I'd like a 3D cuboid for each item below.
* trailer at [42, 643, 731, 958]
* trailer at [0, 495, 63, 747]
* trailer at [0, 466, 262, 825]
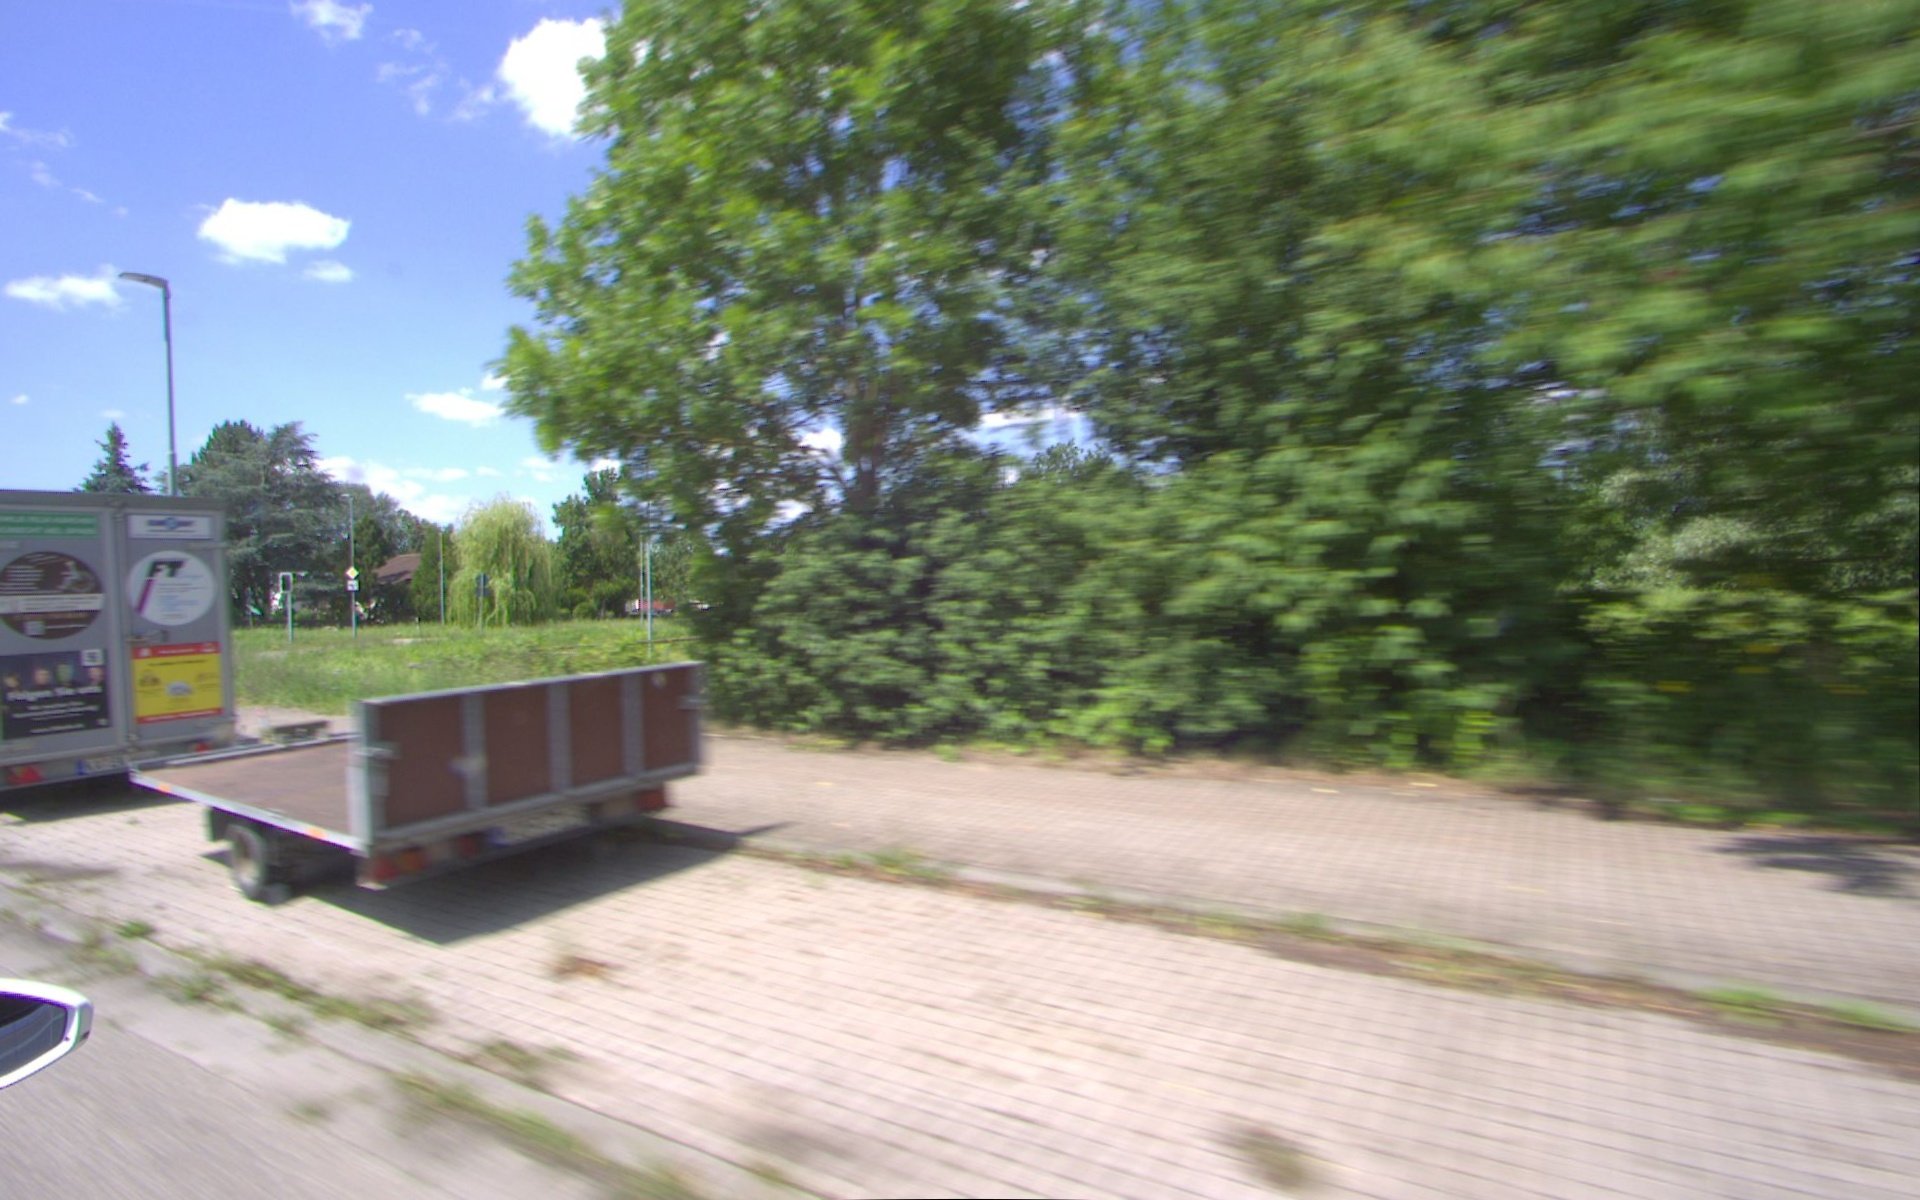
[{"bbox_3d":[-3.734,0.929,6.270,4.428,1.138,1.998,-1,2,35],"label":"trailer"},{"bbox_3d":[-12.587,0.269,11.834,5.118,2.681,1.924,0,3,38],"label":"trailer"},{"bbox_3d":[-8.449,0.313,8.892,4.673,2.543,1.913,-1,3,32],"label":"trailer"}]
